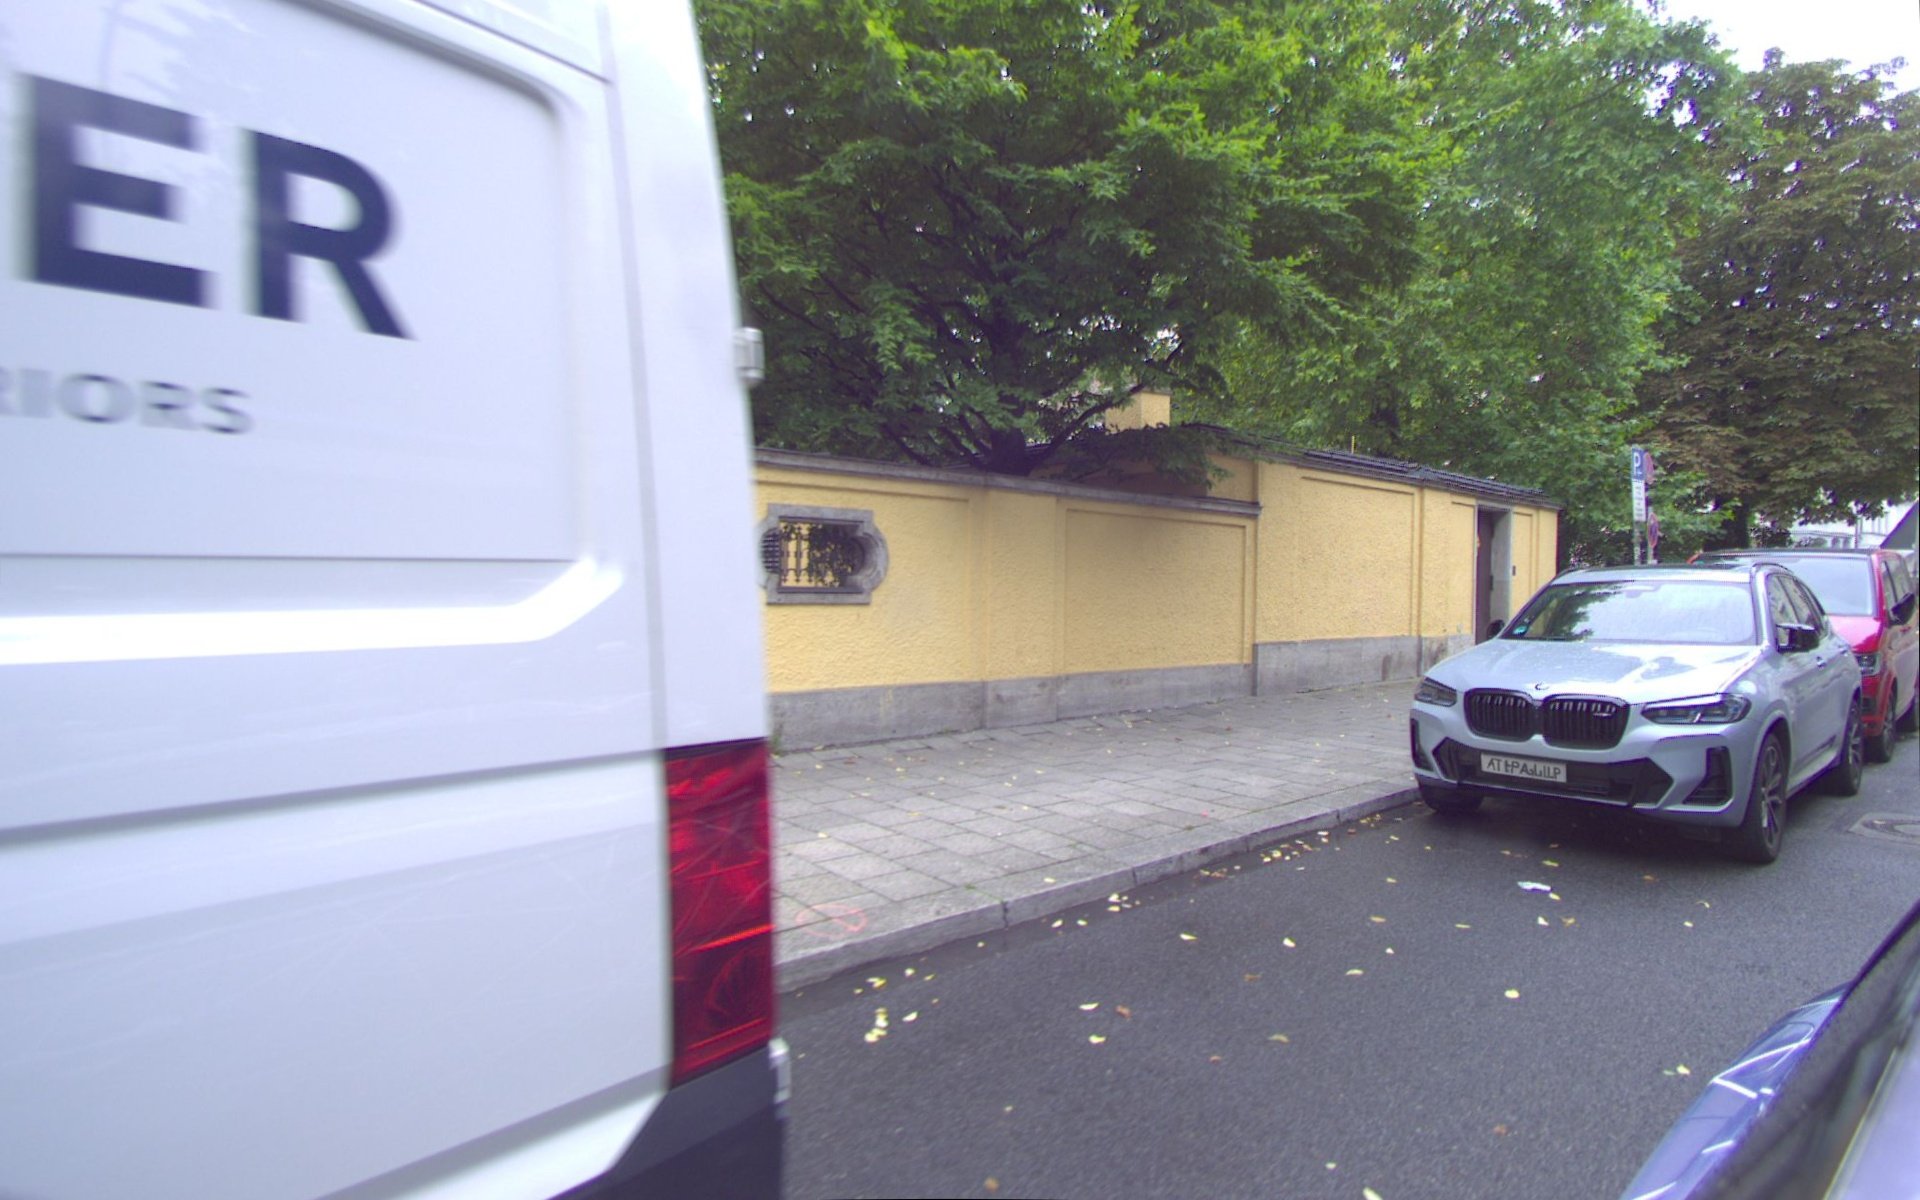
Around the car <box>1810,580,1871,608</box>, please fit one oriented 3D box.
[{"bbox_3d":[63.909,-0.467,73.442,4.680,1.936,2.160,-1,3,-33],"label":"car"}]

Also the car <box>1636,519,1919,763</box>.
[{"bbox_3d":[9.066,0.296,10.760,5.351,1.992,1.861,0,1,-42],"label":"car"}]

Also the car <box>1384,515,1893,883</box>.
[{"bbox_3d":[4.925,0.445,7.052,4.523,1.763,1.862,-1,0,-41],"label":"car"}]

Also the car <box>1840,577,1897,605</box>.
[{"bbox_3d":[69.032,-0.722,76.879,4.487,1.962,2.056,-1,3,-33],"label":"car"}]

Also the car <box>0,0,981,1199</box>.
[{"bbox_3d":[-2.752,0.118,0.273,5.642,2.518,2.098,-2,2,-42],"label":"car"}]
